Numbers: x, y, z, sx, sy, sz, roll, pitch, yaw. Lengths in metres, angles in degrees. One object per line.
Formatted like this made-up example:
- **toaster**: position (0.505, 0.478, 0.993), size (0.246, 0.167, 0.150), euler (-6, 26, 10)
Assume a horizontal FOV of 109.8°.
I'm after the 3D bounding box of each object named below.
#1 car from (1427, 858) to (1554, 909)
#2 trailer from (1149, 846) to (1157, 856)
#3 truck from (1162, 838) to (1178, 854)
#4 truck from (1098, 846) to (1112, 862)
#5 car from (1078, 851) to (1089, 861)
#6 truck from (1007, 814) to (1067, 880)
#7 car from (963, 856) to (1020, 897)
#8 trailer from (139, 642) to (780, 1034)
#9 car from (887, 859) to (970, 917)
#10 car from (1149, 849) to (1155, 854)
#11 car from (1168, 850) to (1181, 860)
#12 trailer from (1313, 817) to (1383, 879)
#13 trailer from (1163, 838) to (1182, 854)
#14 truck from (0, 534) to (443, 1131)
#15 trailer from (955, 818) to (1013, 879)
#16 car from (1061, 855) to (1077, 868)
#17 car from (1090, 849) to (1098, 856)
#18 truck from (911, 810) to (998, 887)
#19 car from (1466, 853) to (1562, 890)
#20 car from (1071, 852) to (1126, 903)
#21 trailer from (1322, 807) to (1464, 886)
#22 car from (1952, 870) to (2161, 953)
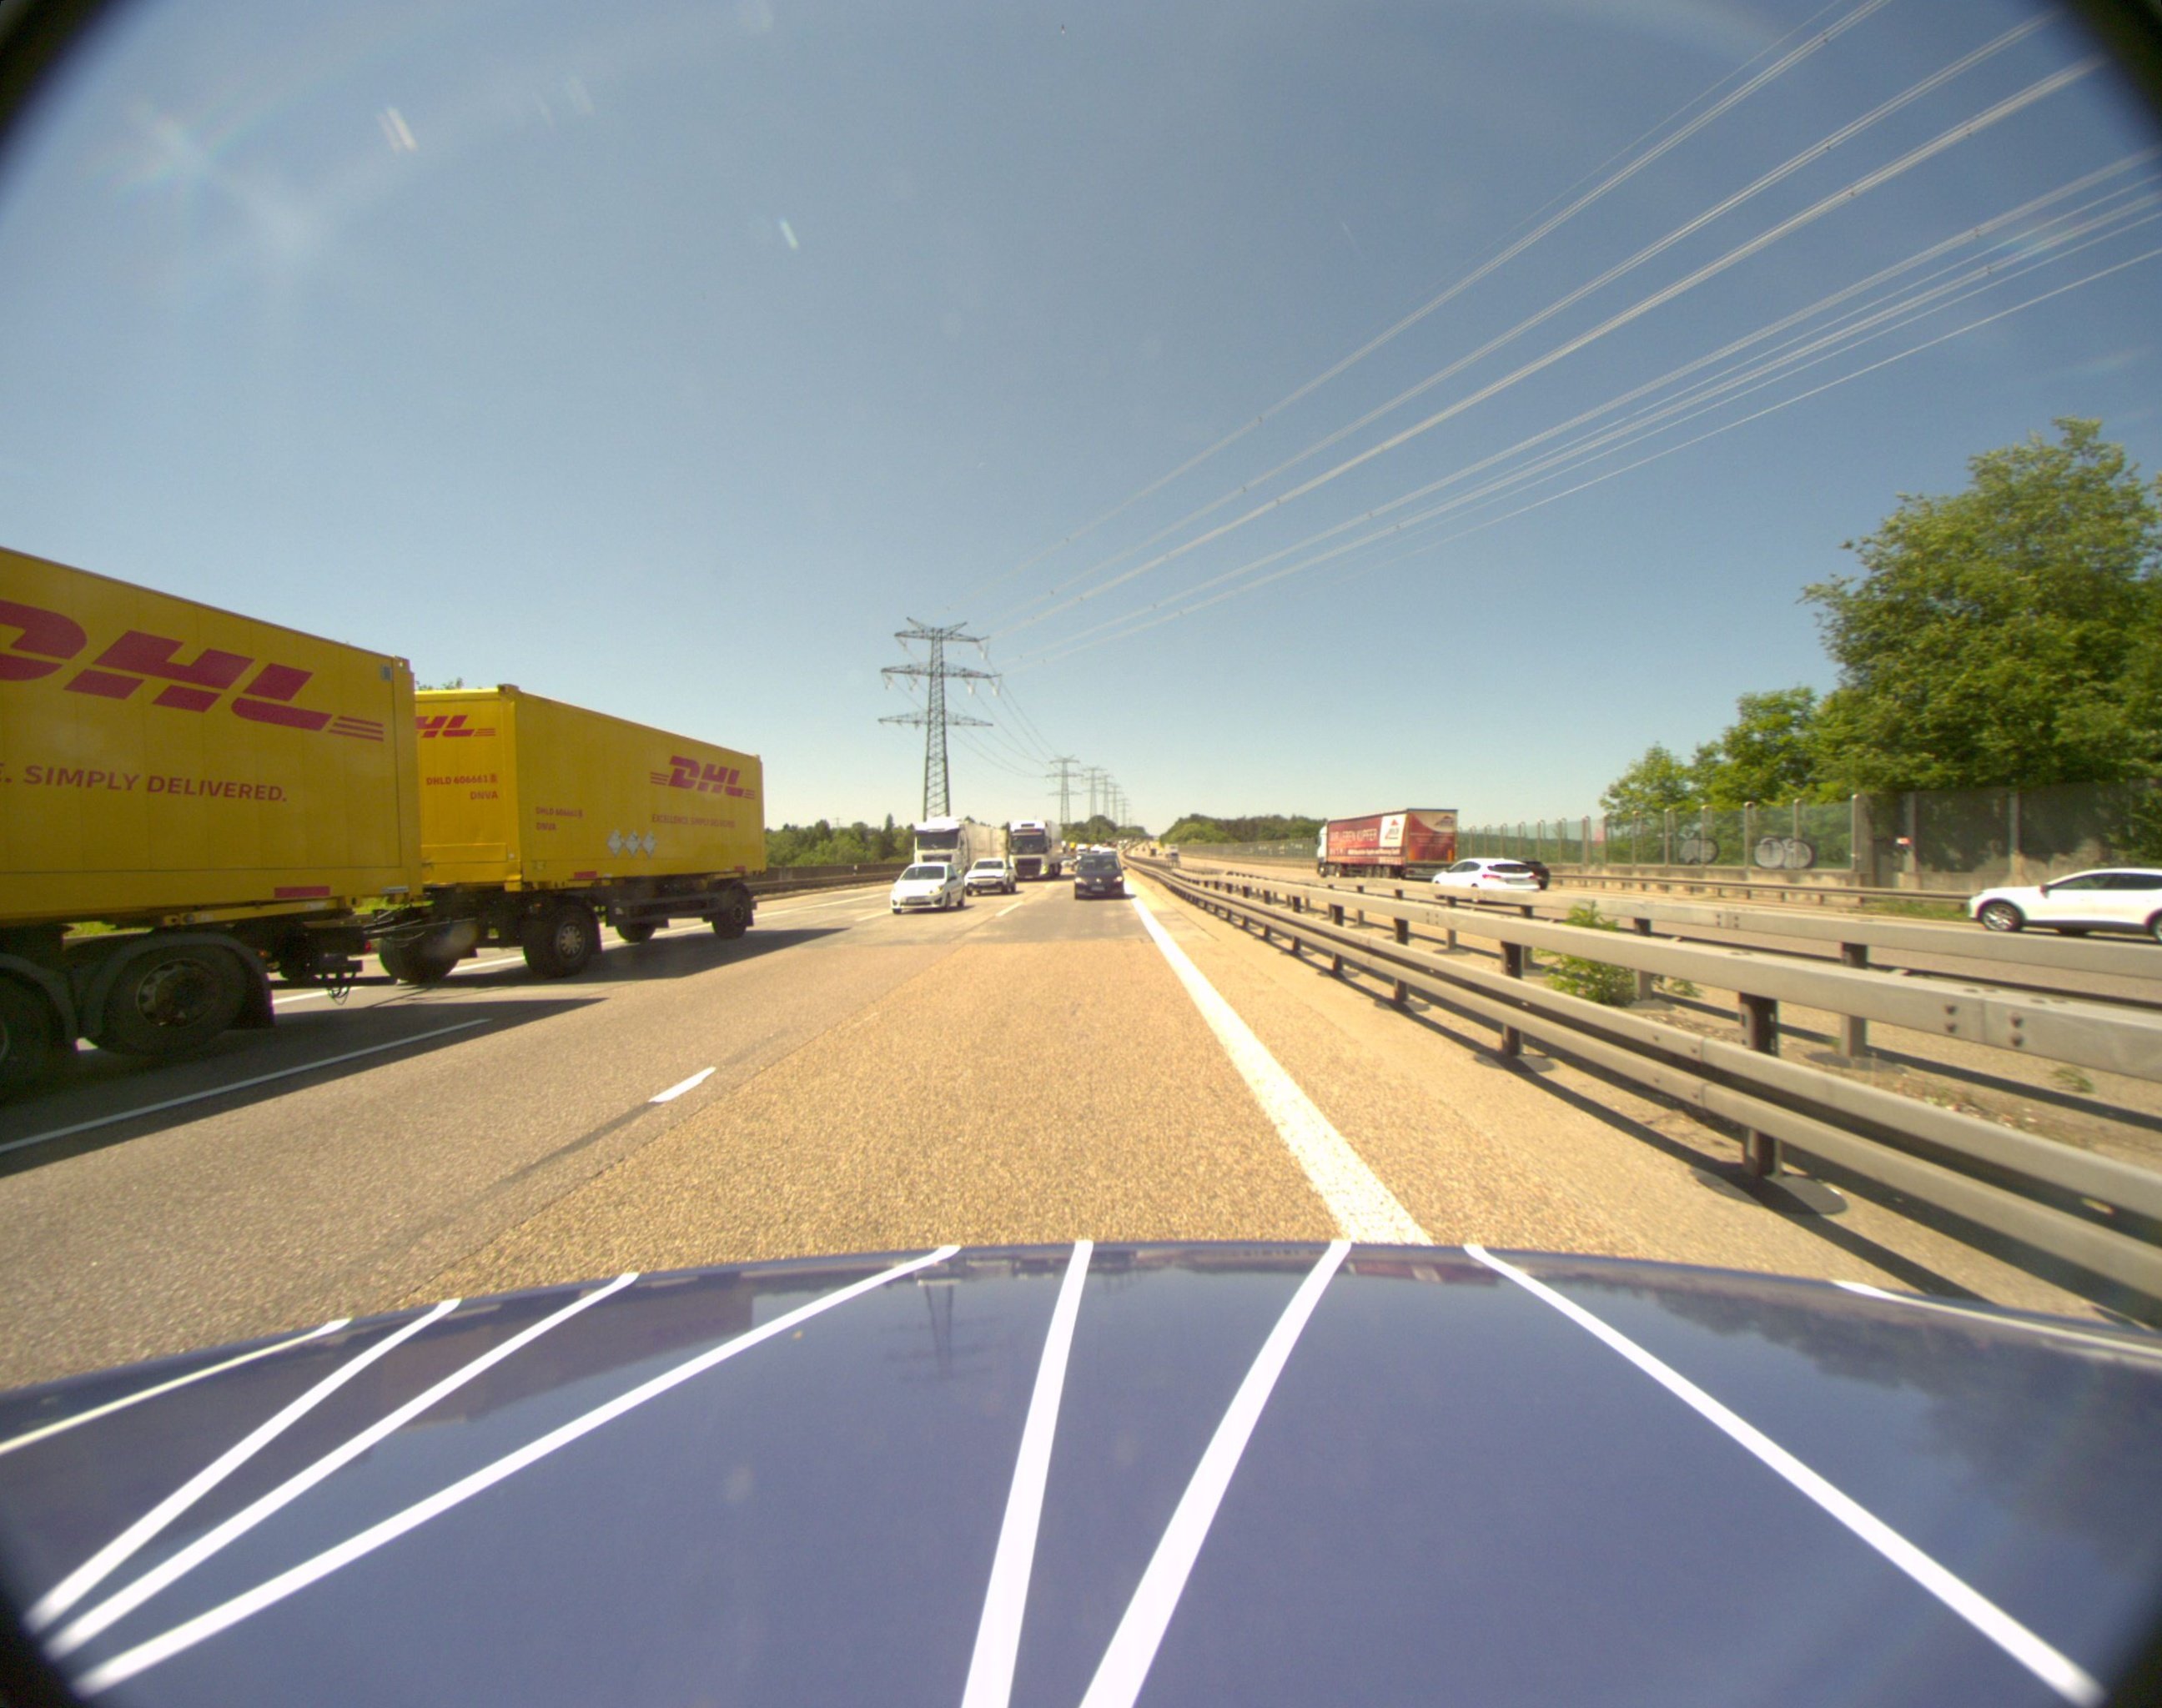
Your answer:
- **car**: position (13.267, 0.892, 24.969), size (1.855, 1.458, 4.304), euler (0, 1, 0)
- **trailer**: position (22.555, -0.963, 238.159), size (2.171, 2.761, 5.376), euler (2, 1, 2)
- **truck**: position (25.880, -2.363, 220.495), size (4.015, 4.204, 4.858), euler (-2, 1, 1)
- **truck**: position (4.344, -0.055, 135.275), size (2.309, 2.789, 5.110), euler (-2, 1, 3)
- **car**: position (0.477, 0.308, 136.862), size (1.820, 1.569, 4.000), euler (-2, 1, 2)
- **truck**: position (-2.891, -0.479, 54.690), size (2.717, 4.015, 14.257), euler (-2, 0, 3)
- **car**: position (-3.753, 0.914, 32.507), size (1.776, 1.521, 3.852), euler (-2, 1, 3)
- **trailer**: position (-8.542, -0.138, 12.854), size (2.772, 4.093, 9.378), euler (-2, 0, 2)
- **car**: position (-4.581, 0.980, 23.357), size (1.659, 1.502, 3.825), euler (-2, 1, 1)
- **car**: position (22.676, -0.872, 242.968), size (1.875, 1.616, 4.628), euler (0, 1, 2)
- **car**: position (18.055, 0.164, 147.535), size (1.998, 1.929, 4.896), euler (-2, 1, 2)
- **trailer**: position (18.211, -0.384, 52.165), size (2.763, 3.953, 6.132), euler (0, 0, 1)
- **trailer**: position (25.558, -2.276, 213.283), size (3.998, 4.210, 14.041), euler (-2, 0, 2)
- **truck**: position (-8.819, -0.120, 3.620), size (2.772, 4.085, 9.954), euler (-2, 0, 2)
- **trailer**: position (-6.822, -0.386, 54.548), size (2.752, 3.918, 7.774), euler (-2, 0, 2)
- **car**: position (-1.543, 0.919, 98.403), size (1.820, 1.569, 4.000), euler (-2, 1, 2)
- **car**: position (3.096, -0.378, 181.093), size (1.820, 1.569, 4.000), euler (-2, 1, 2)
- **truck**: position (-7.179, -0.309, 45.038), size (2.695, 3.907, 11.297), euler (-2, 0, 2)
- **car**: position (21.562, 0.813, 38.139), size (1.998, 1.567, 5.275), euler (-2, 1, 3)
- **car**: position (0.664, 0.758, 26.954), size (1.748, 1.569, 4.000), euler (-2, 1, 3)
- **trailer**: position (18.013, -0.372, 45.515), size (2.770, 3.953, 14.682), euler (0, 0, 1)
- **car**: position (21.066, 1.118, 15.397), size (1.690, 1.447, 4.344), euler (0, 1, -3)
